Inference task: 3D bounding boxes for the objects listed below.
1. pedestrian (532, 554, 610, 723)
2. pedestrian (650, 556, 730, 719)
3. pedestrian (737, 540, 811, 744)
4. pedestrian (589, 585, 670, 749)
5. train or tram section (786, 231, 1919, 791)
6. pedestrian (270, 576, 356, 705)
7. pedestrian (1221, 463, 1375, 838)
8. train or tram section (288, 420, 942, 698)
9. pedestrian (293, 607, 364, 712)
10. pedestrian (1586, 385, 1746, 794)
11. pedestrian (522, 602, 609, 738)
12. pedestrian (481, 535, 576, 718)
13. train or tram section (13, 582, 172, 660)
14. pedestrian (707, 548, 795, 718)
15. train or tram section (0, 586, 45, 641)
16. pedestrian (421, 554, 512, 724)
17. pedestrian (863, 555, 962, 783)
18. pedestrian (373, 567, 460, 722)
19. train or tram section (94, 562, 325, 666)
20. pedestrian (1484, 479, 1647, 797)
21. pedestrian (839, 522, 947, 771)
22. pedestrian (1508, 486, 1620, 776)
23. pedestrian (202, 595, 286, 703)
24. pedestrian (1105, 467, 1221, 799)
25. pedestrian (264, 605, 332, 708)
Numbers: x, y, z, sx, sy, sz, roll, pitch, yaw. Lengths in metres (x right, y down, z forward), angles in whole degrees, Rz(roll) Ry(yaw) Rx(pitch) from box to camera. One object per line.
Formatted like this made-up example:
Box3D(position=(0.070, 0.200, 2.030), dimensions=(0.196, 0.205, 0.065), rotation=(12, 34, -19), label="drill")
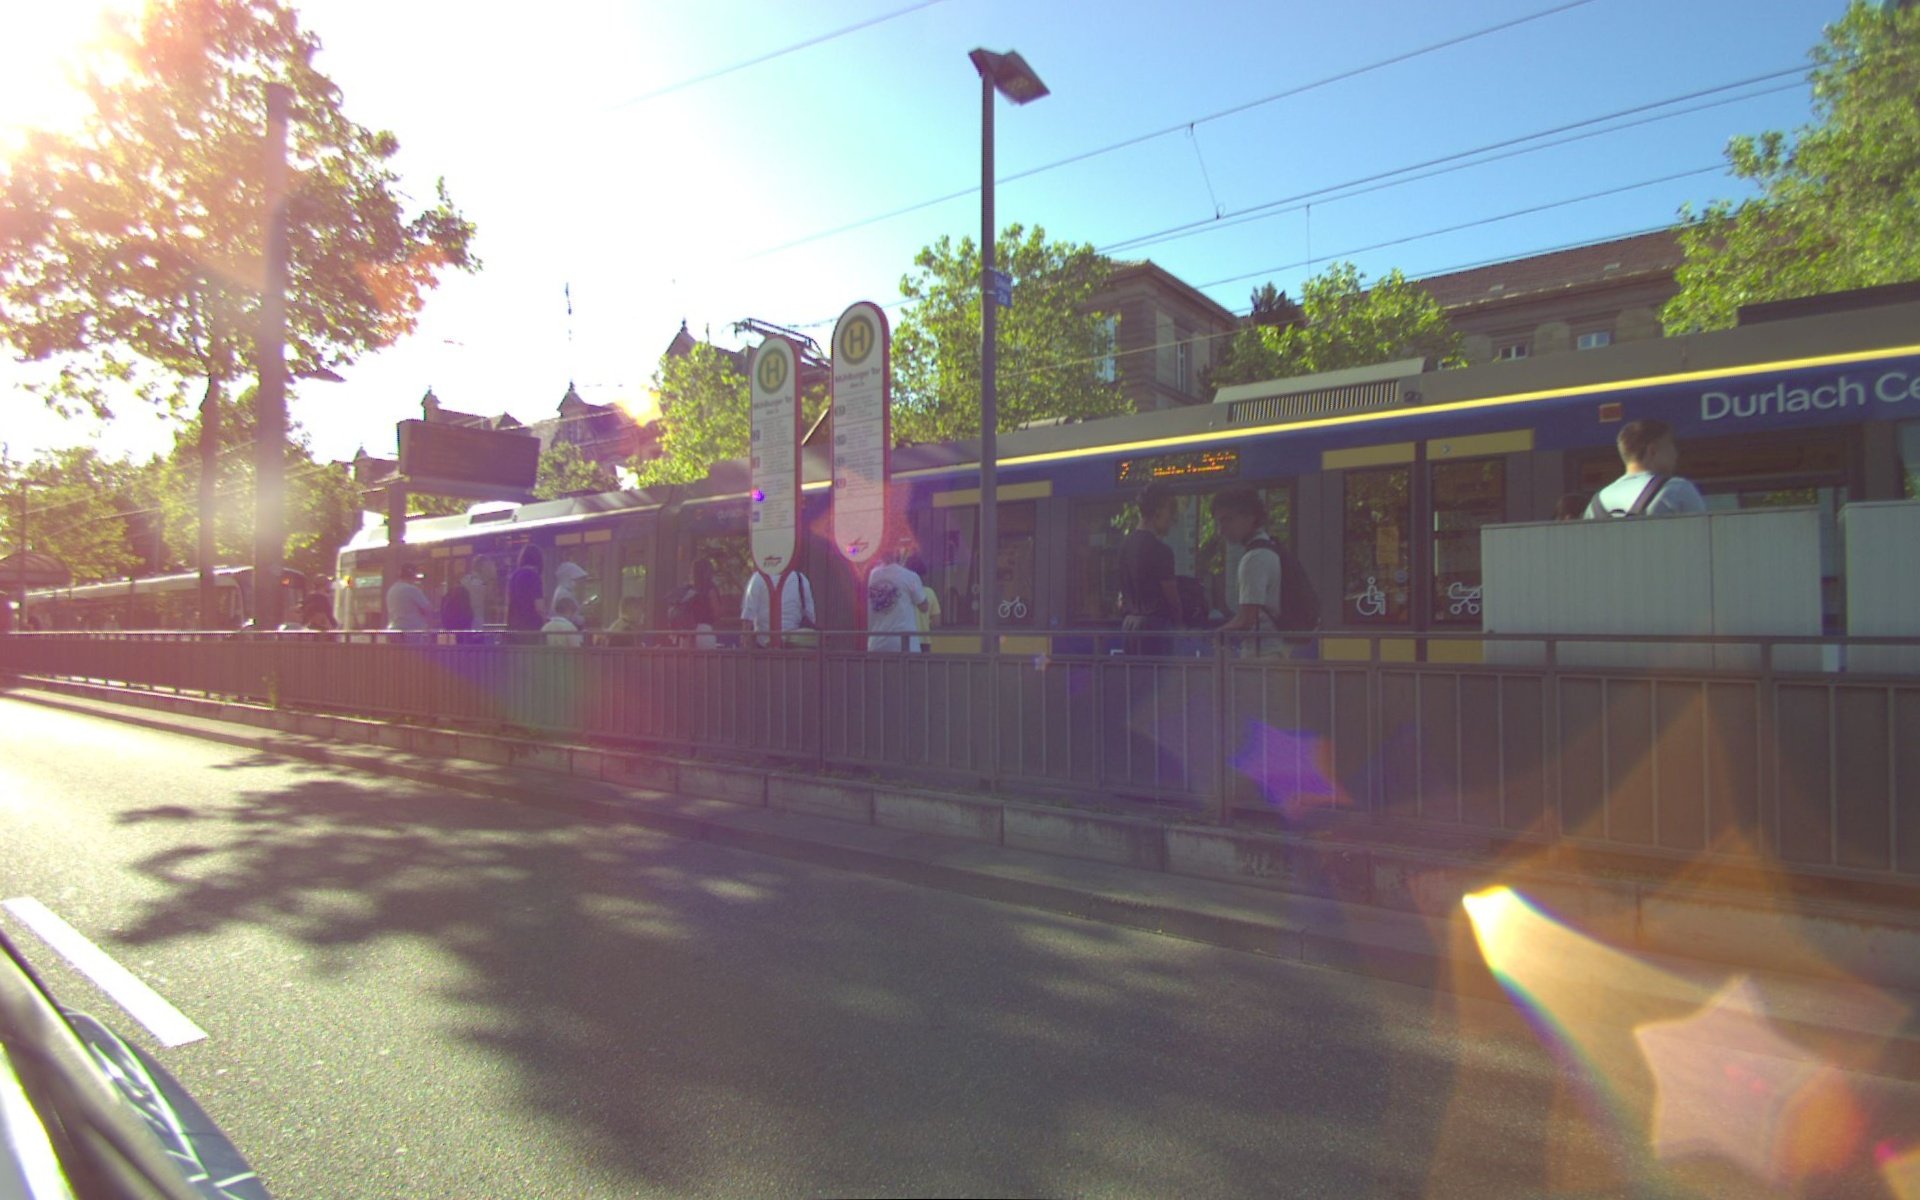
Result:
Box3D(position=(-4.124, 0.408, 10.744), dimensions=(0.620, 1.721, 0.510), rotation=(-2, -3, 38), label="pedestrian")
Box3D(position=(-2.645, 0.366, 9.940), dimensions=(0.530, 1.530, 0.540), rotation=(-2, -3, 38), label="pedestrian")
Box3D(position=(-1.638, 0.365, 8.891), dimensions=(0.498, 1.715, 0.613), rotation=(1, -3, -24), label="pedestrian")
Box3D(position=(-2.767, 0.550, 8.475), dimensions=(0.506, 1.326, 0.412), rotation=(-2, -3, 36), label="pedestrian")
Box3D(position=(3.962, -0.514, 9.092), dimensions=(13.095, 3.285, 2.887), rotation=(0, 0, 38), label="train or tram section")
Box3D(position=(-9.188, 0.573, 14.386), dimensions=(0.721, 1.766, 0.769), rotation=(-2, -3, 34), label="pedestrian")
Box3D(position=(1.649, 0.241, 5.006), dimensions=(0.532, 1.747, 0.550), rotation=(0, -2, -2), label="pedestrian")
Box3D(position=(-7.364, -0.448, 18.039), dimensions=(15.872, 3.285, 2.887), rotation=(0, 0, 38), label="train or tram section")
Box3D(position=(-7.815, 0.725, 12.531), dimensions=(0.603, 1.256, 0.529), rotation=(-2, -3, 36), label="pedestrian")
Box3D(position=(3.255, -0.036, 4.697), dimensions=(0.538, 1.747, 0.543), rotation=(-2, -3, 34), label="pedestrian")
Box3D(position=(-3.625, 0.631, 9.314), dimensions=(0.530, 1.201, 0.540), rotation=(-2, -3, 38), label="pedestrian")
Box3D(position=(-4.221, 0.261, 9.913), dimensions=(0.570, 1.709, 0.654), rotation=(-2, -3, 39), label="pedestrian")
Box3D(position=(-44.670, 1.169, 51.688), dimensions=(18.252, 3.460, 2.843), rotation=(-2, -1, 39), label="train or tram section")
Box3D(position=(-2.130, 0.340, 10.324), dimensions=(0.621, 1.662, 0.613), rotation=(-2, -3, 34), label="pedestrian")
Box3D(position=(-50.534, 0.812, 52.124), dimensions=(15.654, 2.584, 2.538), rotation=(-2, -2, 39), label="train or tram section")
Box3D(position=(-5.175, 0.404, 10.616), dimensions=(0.570, 1.709, 0.654), rotation=(-2, -3, 39), label="pedestrian")
Box3D(position=(-0.388, 0.554, 8.338), dimensions=(0.610, 1.784, 0.548), rotation=(-2, -3, 34), label="pedestrian")
Box3D(position=(-6.003, 0.483, 11.194), dimensions=(0.570, 1.646, 0.654), rotation=(-2, -3, 39), label="pedestrian")
Box3D(position=(-30.391, 0.686, 40.273), dimensions=(18.191, 3.460, 2.821), rotation=(-2, -1, 39), label="train or tram section")
Box3D(position=(3.542, 0.217, 5.923), dimensions=(0.745, 1.715, 0.627), rotation=(-2, -3, 34), label="pedestrian")
Box3D(position=(-0.486, 0.332, 7.373), dimensions=(0.610, 1.715, 0.501), rotation=(-2, -3, 34), label="pedestrian")
Box3D(position=(3.815, 0.192, 6.387), dimensions=(0.544, 1.715, 0.603), rotation=(-2, -3, 34), label="pedestrian")
Box3D(position=(-10.507, 0.716, 14.860), dimensions=(0.750, 1.521, 0.769), rotation=(-2, -3, 35), label="pedestrian")
Box3D(position=(1.108, 0.177, 5.617), dimensions=(0.532, 1.747, 0.549), rotation=(0, -2, 3), label="pedestrian")
Box3D(position=(-8.676, 0.729, 13.259), dimensions=(0.603, 1.309, 0.529), rotation=(-2, -3, 35), label="pedestrian")
